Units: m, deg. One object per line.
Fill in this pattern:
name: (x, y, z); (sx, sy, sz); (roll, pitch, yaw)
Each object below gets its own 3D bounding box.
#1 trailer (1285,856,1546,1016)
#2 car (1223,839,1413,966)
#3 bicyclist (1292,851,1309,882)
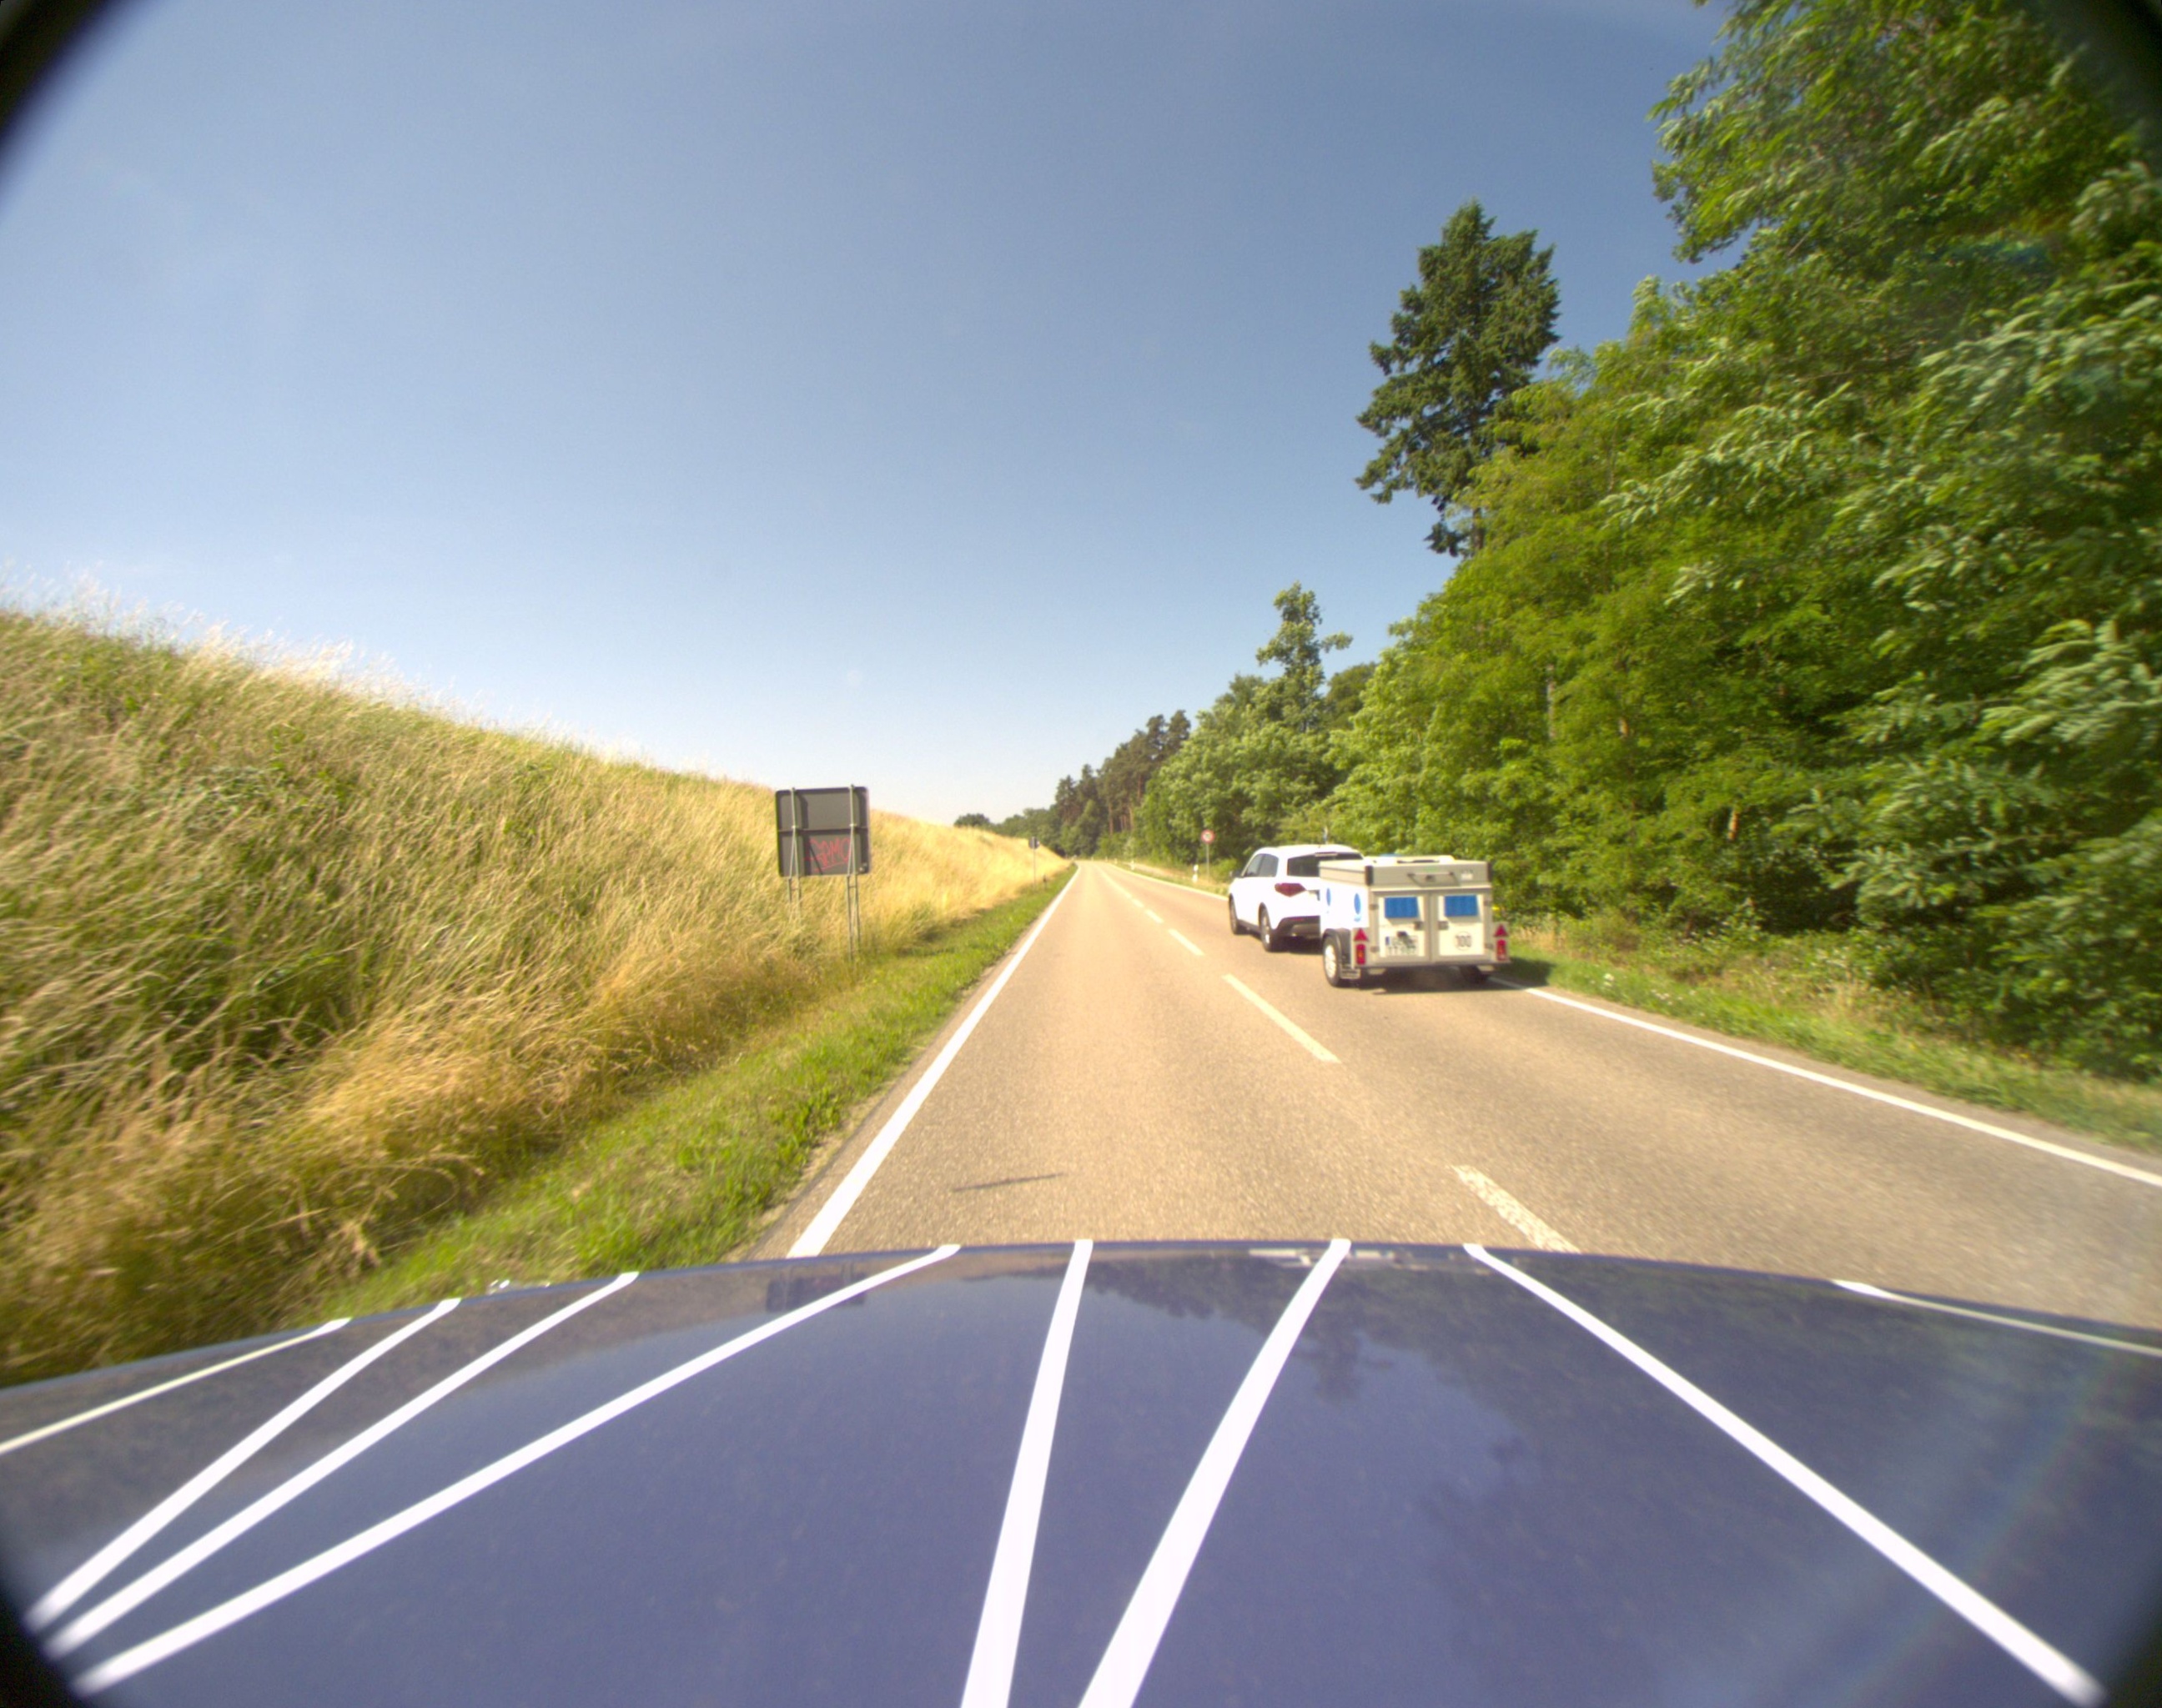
trailer: (3.533, 0.763, 8.661); (1.563, 1.433, 3.268); (-1, 0, 1)
car: (3.593, 0.701, 12.327); (1.814, 1.666, 4.001); (-2, -1, 0)
bicyclist: (10.274, 0.572, 35.622); (0.606, 1.407, 0.702); (0, 2, 0)
